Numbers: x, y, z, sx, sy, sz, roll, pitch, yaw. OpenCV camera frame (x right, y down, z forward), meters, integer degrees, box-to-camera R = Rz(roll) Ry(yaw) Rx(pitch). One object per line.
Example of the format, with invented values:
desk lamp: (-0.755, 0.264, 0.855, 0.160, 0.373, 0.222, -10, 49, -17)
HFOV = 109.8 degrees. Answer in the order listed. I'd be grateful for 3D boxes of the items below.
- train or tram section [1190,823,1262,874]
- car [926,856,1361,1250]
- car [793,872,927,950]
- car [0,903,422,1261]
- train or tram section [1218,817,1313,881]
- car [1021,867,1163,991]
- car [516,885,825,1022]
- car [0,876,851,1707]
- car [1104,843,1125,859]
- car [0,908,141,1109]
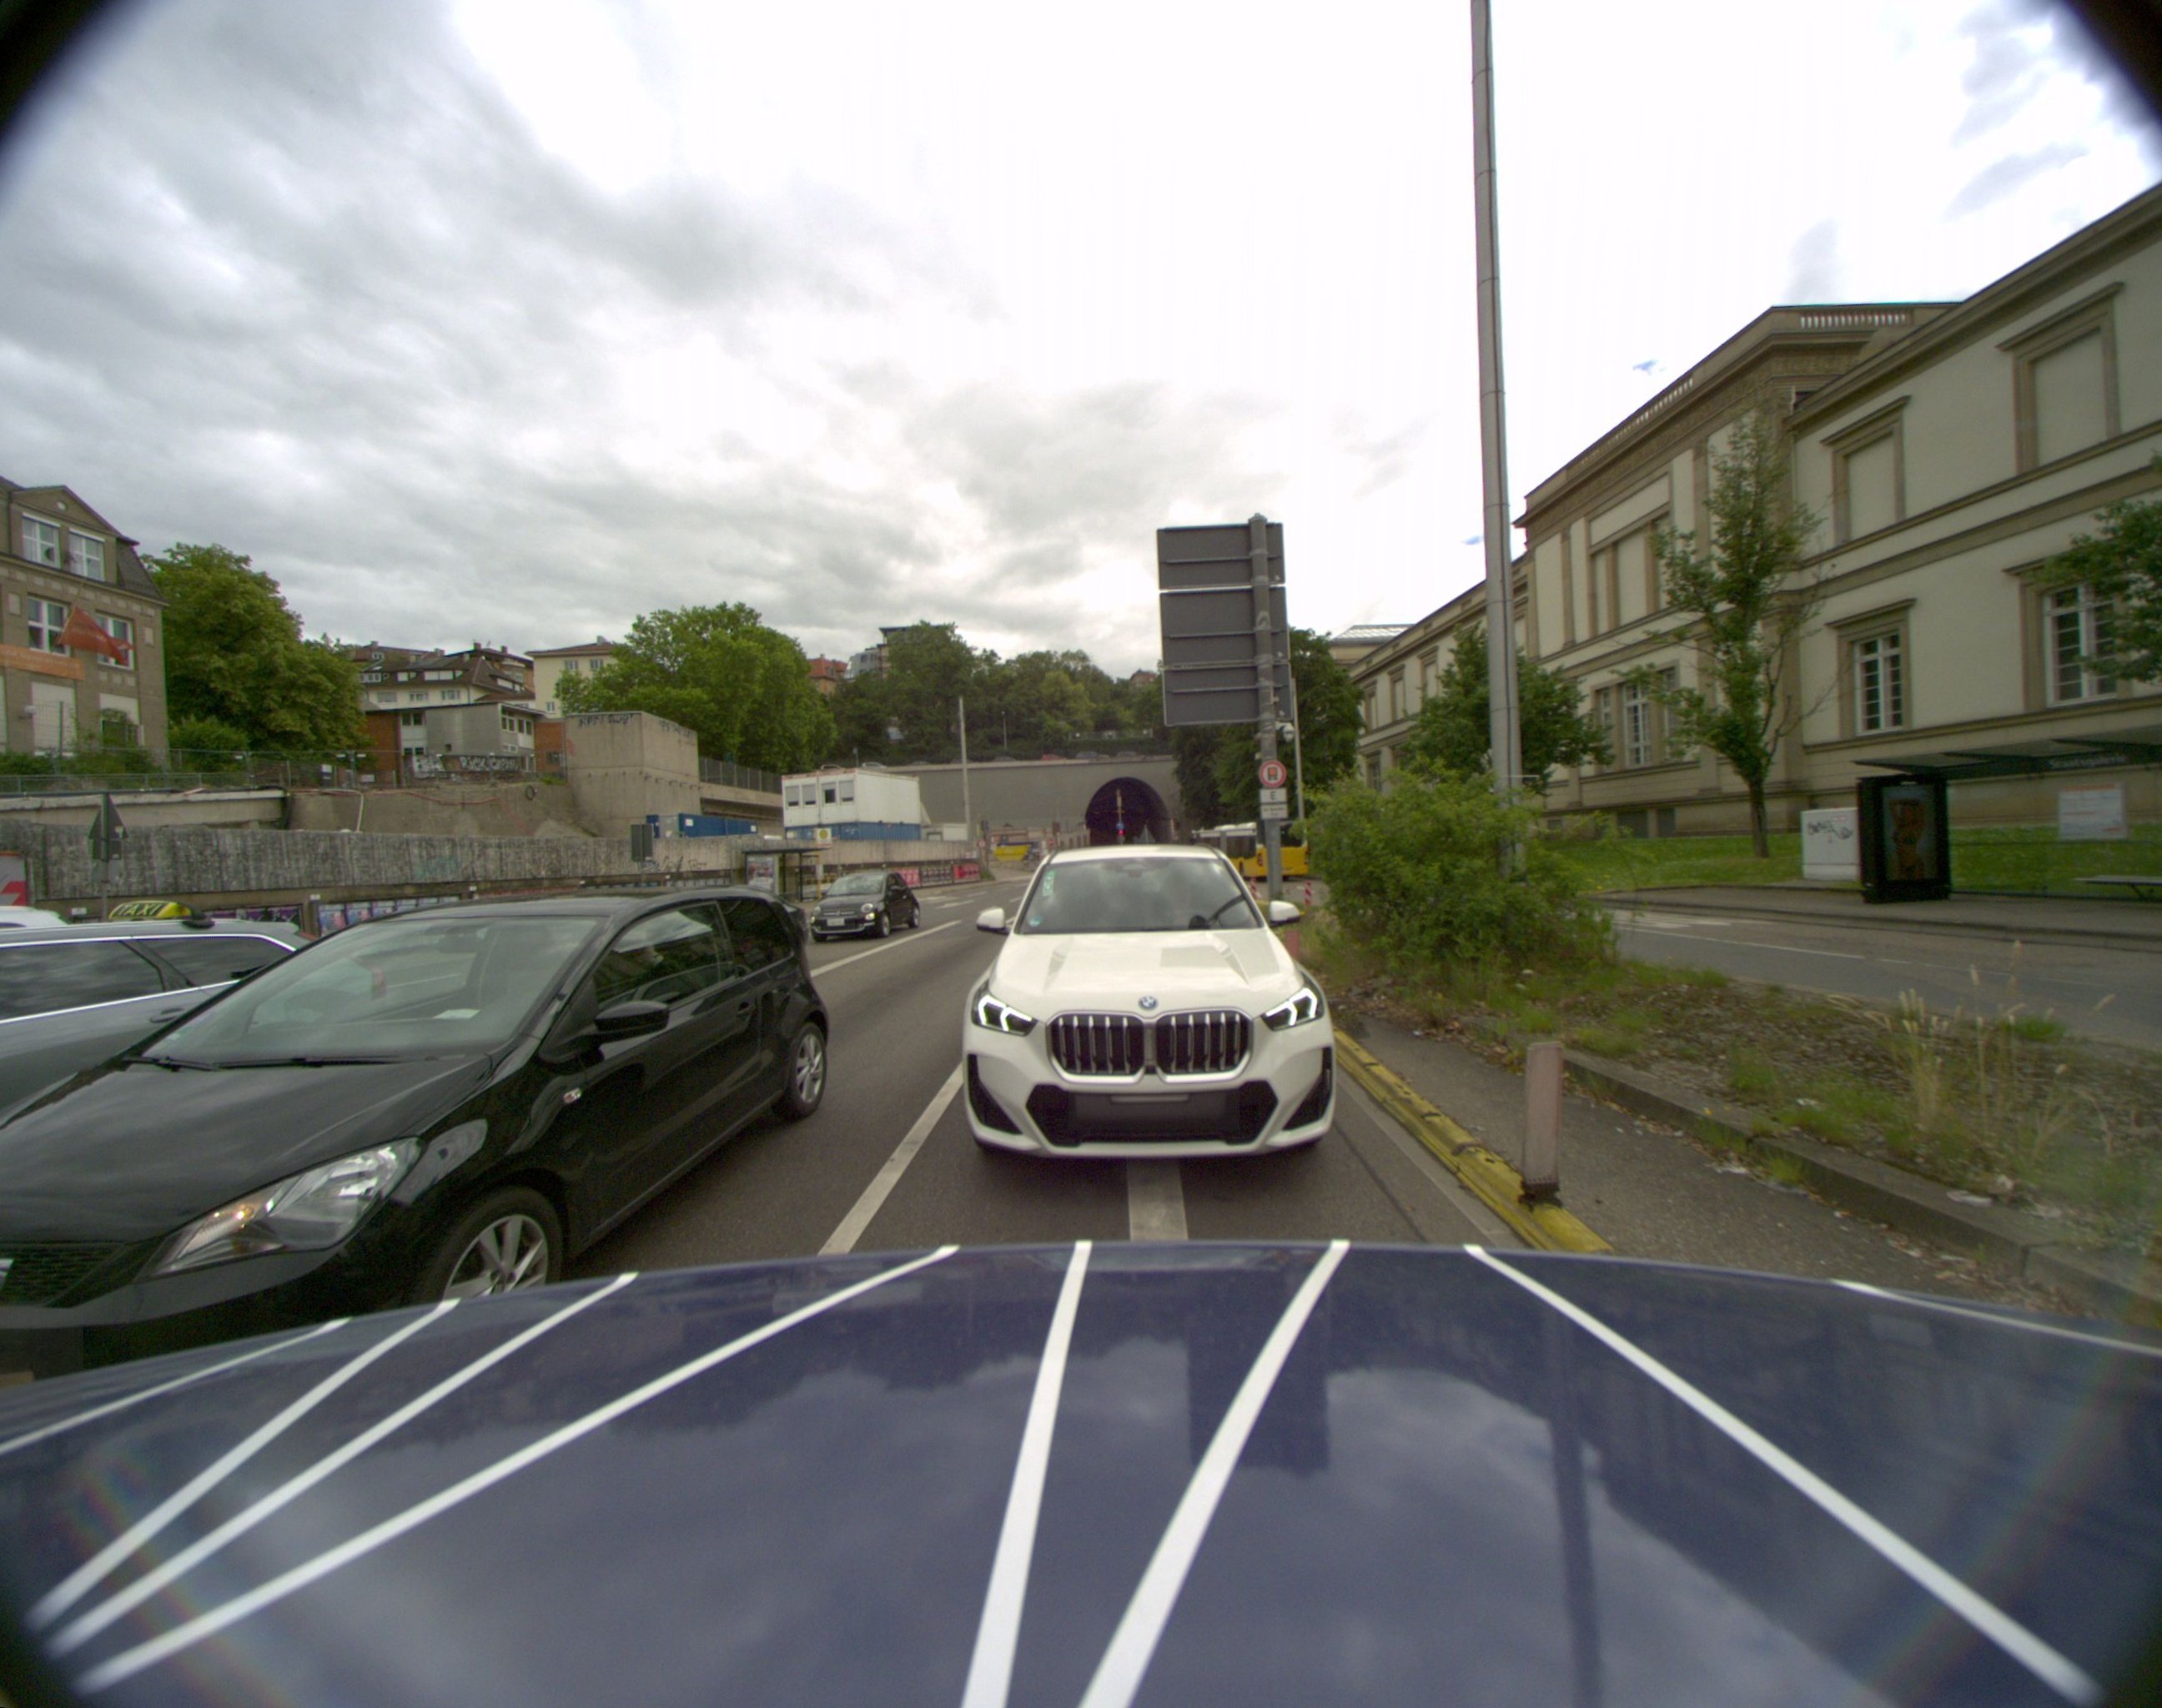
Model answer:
train or tram section: (9.545, -0.355, 51.173, 2.701, 3.053, 9.374, -1, 0, -2)
car: (0.341, 0.850, 5.127, 1.756, 1.547, 3.911, -2, 1, 3)
car: (-4.973, 1.227, 17.669, 1.720, 1.450, 3.782, -3, 0, 4)
car: (-5.822, 1.144, 3.459, 1.826, 1.457, 4.217, -2, 1, 2)
train or tram section: (9.868, -0.247, 41.818, 2.701, 3.053, 9.335, -1, 0, -1)
car: (0.223, 0.993, 11.603, 1.756, 1.427, 3.911, -2, 0, 3)
car: (-5.398, 1.228, 10.765, 1.826, 1.356, 4.219, -2, 0, 4)
car: (-2.527, 0.980, 3.279, 1.661, 1.547, 3.911, -2, 1, 3)
car: (3.479, -0.370, 79.670, 1.948, 1.565, 3.999, -2, 1, 1)
car: (-9.148, 1.259, 4.583, 1.826, 1.457, 4.073, -2, 1, 0)
